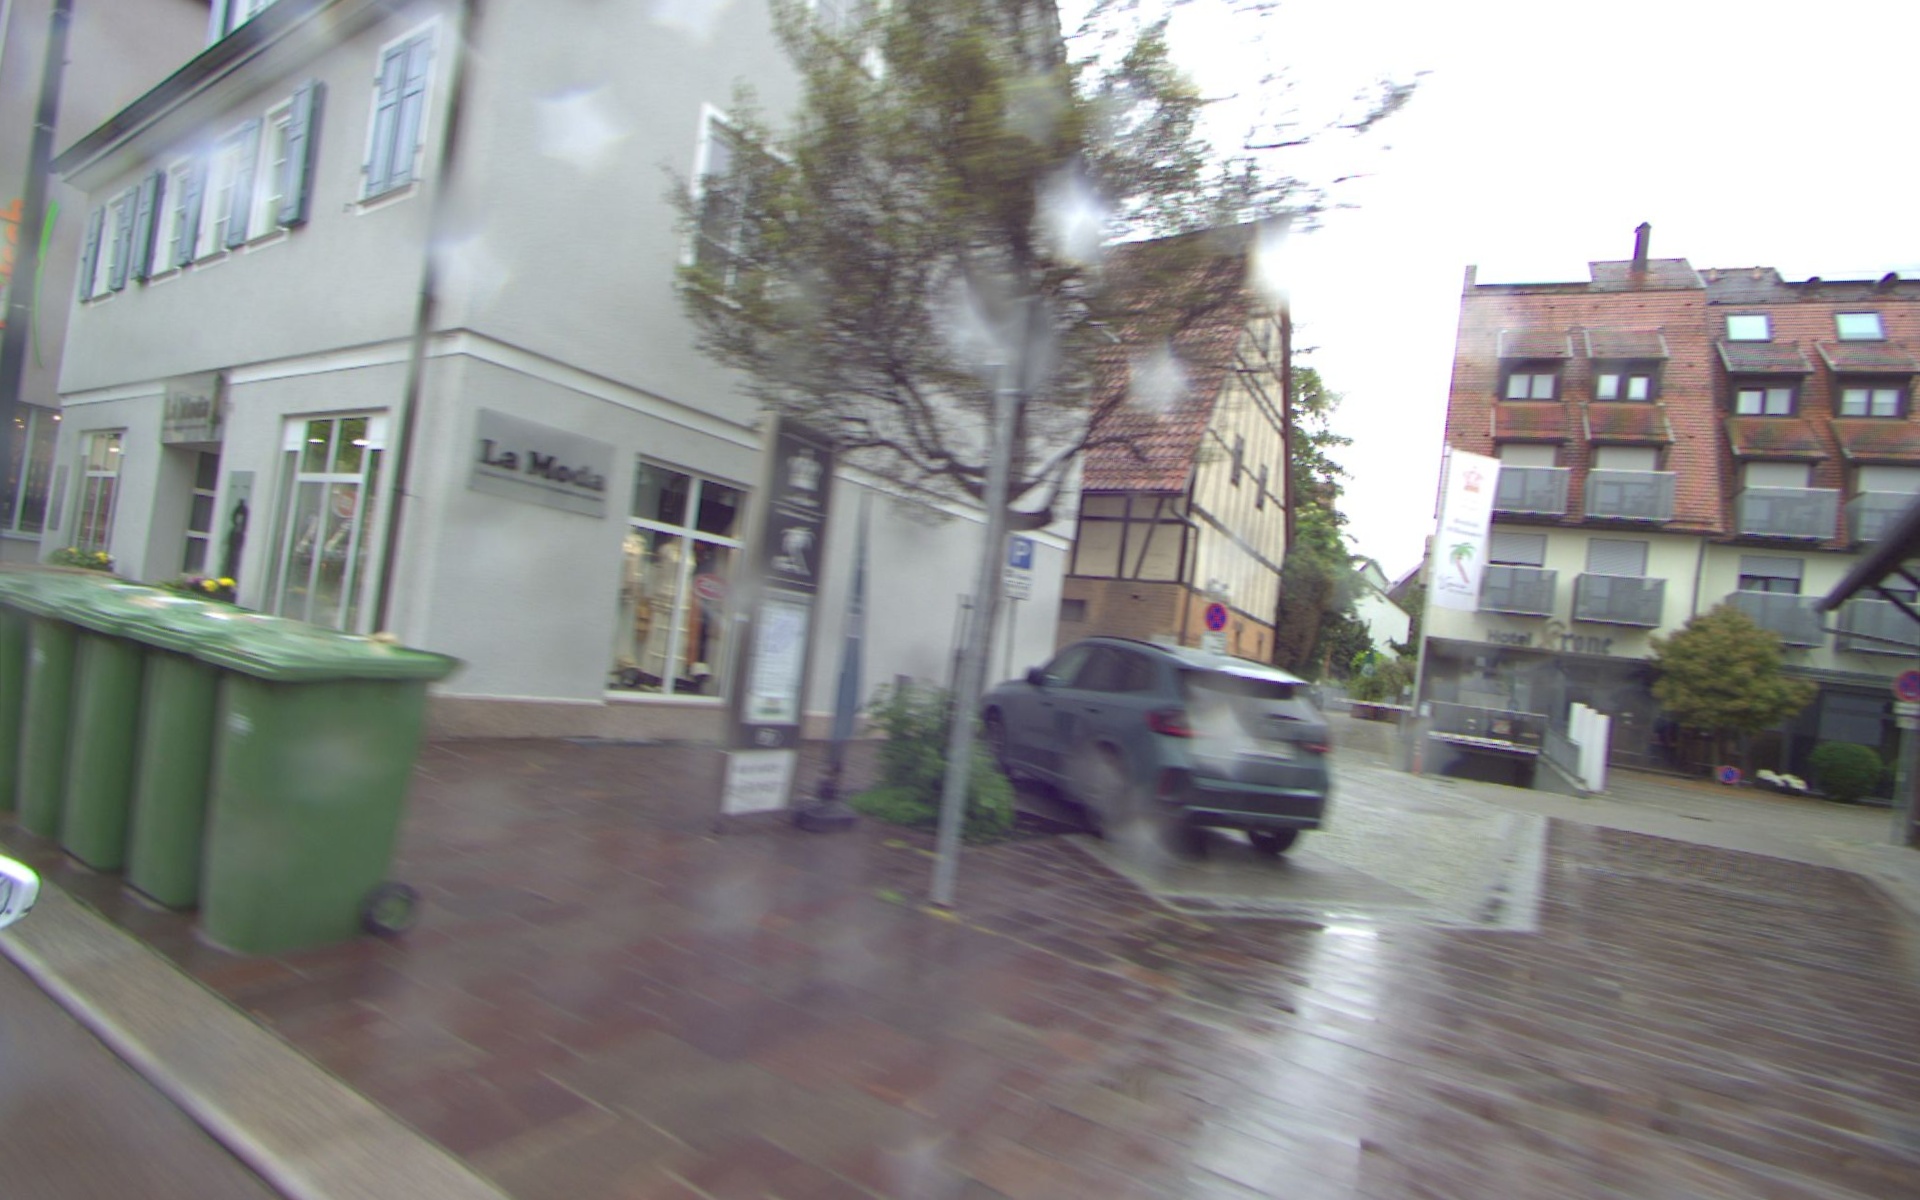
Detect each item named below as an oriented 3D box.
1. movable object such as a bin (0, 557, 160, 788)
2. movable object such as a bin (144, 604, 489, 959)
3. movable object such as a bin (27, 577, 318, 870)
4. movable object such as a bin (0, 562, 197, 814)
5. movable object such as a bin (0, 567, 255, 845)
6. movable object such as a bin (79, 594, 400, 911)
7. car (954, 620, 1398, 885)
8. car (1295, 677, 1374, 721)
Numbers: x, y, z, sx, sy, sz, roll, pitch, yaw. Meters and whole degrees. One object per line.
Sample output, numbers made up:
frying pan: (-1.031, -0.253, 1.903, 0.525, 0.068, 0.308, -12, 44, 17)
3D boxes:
movable object such as a bin: (-4.851, 0.358, 5.262, 0.645, 1.103, 0.755, 7, -1, 29)
movable object such as a bin: (-2.337, 0.627, 3.702, 0.589, 1.091, 0.770, 5, -4, 33)
movable object such as a bin: (-3.357, 0.518, 4.324, 0.513, 1.102, 0.730, 6, -4, 33)
movable object such as a bin: (-4.362, 0.417, 4.904, 0.601, 1.110, 0.737, 6, -3, 32)
movable object such as a bin: (-3.859, 0.473, 4.606, 0.601, 1.110, 0.737, 6, -3, 32)
movable object such as a bin: (-2.853, 0.583, 4.022, 0.590, 1.075, 0.756, 5, -4, 33)
car: (1.665, 1.210, 9.487, 1.863, 1.618, 4.372, 9, -2, -20)
car: (22.304, 5.876, 60.059, 3.924, 2.035, 2.004, 7, -3, 8)
